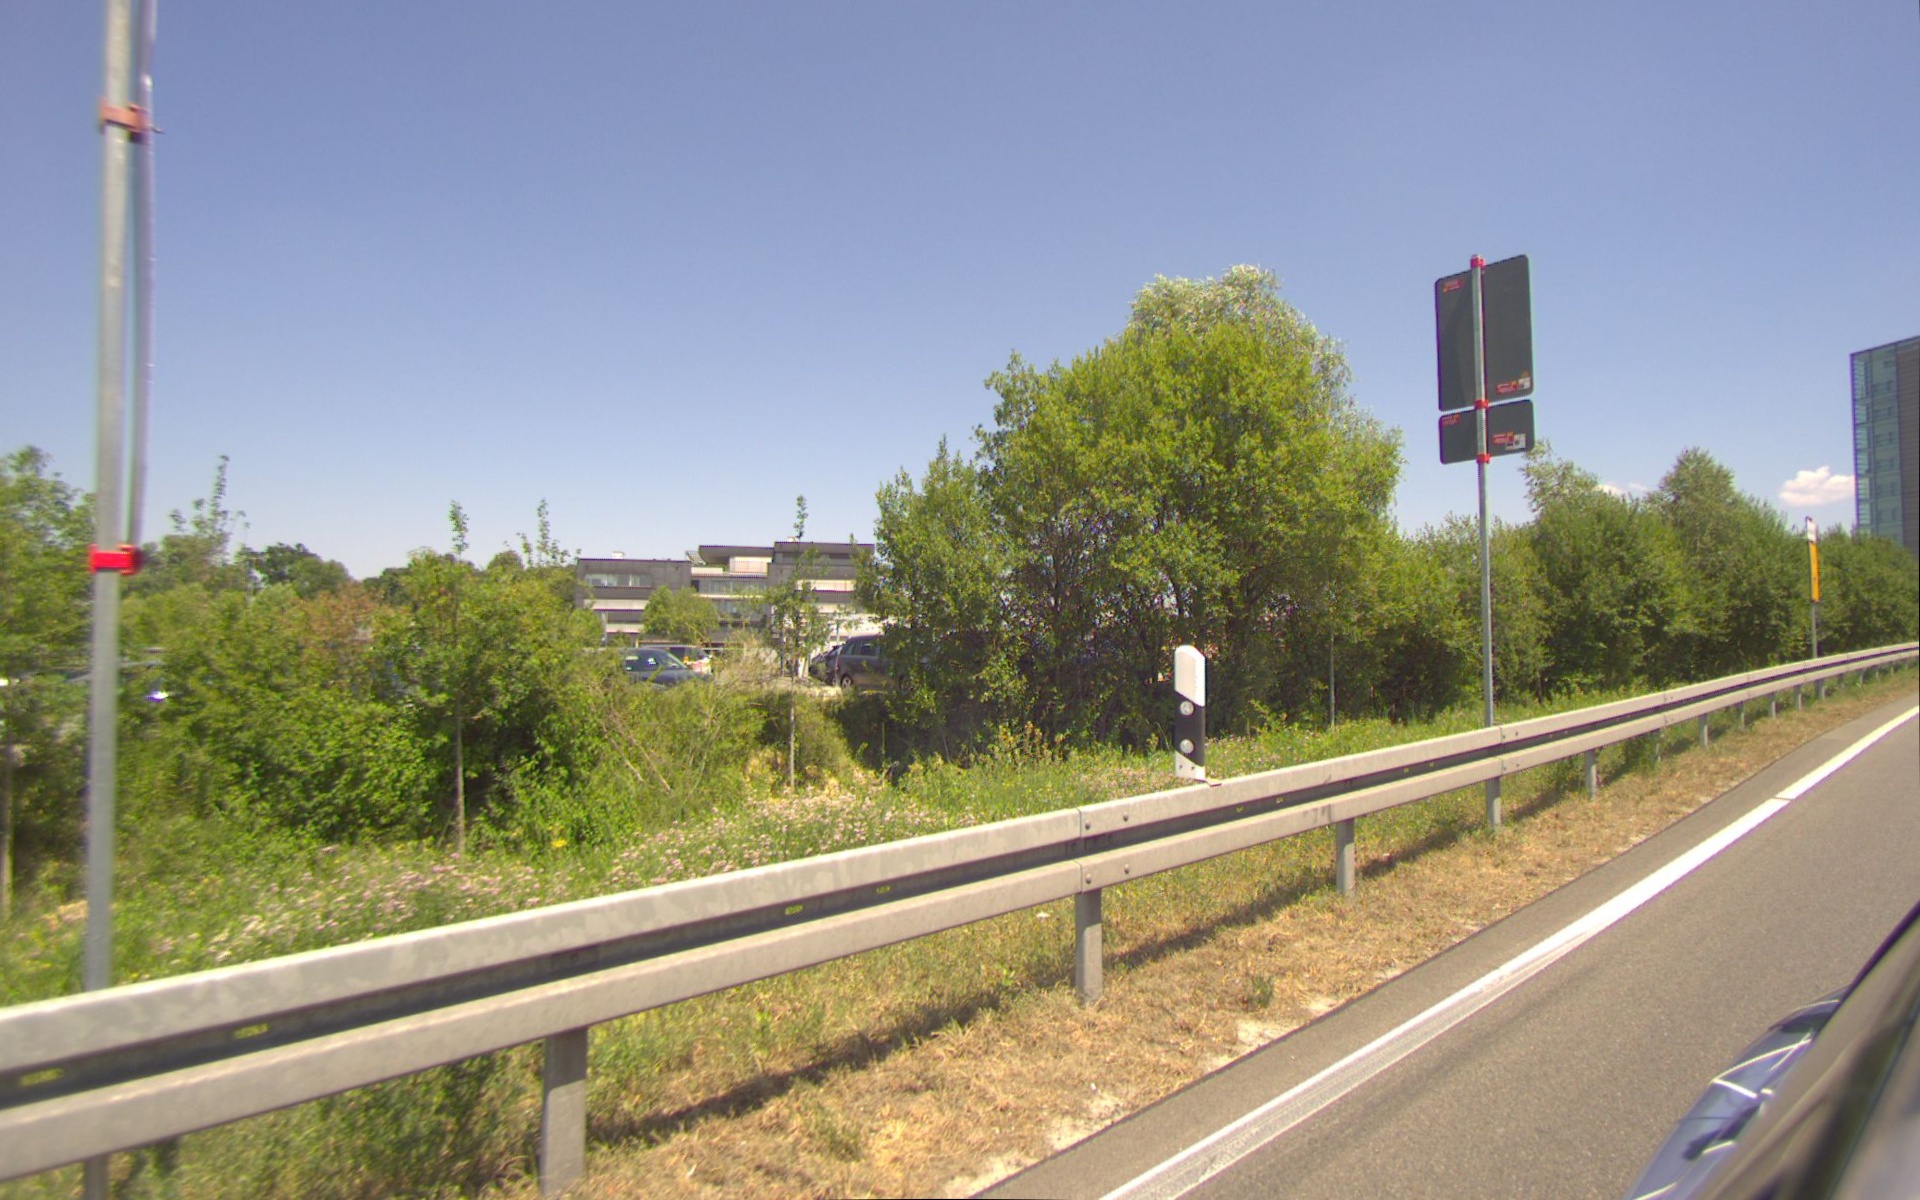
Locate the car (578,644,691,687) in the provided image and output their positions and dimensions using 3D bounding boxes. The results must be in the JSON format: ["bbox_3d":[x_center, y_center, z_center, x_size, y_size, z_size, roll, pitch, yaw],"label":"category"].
[{"bbox_3d":[-13.879,2.822,43.433,4.473,1.758,2.003,1,-4,-14],"label":"car"}]

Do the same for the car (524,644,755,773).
[{"bbox_3d":[-6.632,2.076,20.623,5.212,2.288,2.102,-3,-5,42],"label":"car"}]

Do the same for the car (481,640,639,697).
[{"bbox_3d":[-12.847,2.205,32.814,4.473,1.758,2.003,1,-4,-14],"label":"car"}]

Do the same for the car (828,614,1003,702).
[{"bbox_3d":[-1.211,1.455,25.437,1.964,1.995,4.686,3,-5,-40],"label":"car"}]

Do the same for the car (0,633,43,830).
[{"bbox_3d":[-13.643,1.588,13.013,5.212,2.288,2.102,-3,-5,42],"label":"car"}]

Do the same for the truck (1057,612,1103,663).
[{"bbox_3d":[9.424,3.007,78.658,3.080,3.733,9.387,0,-3,9],"label":"truck"}]

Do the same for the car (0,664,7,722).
[{"bbox_3d":[-28.486,2.584,26.871,4.253,1.576,1.950,0,-1,-9],"label":"car"}]

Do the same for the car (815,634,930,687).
[{"bbox_3d":[-3.466,2.377,39.818,4.218,1.995,2.003,1,-4,-14],"label":"car"}]

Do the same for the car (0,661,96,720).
[{"bbox_3d":[-28.618,2.682,29.950,4.253,1.564,1.950,0,-1,-9],"label":"car"}]
